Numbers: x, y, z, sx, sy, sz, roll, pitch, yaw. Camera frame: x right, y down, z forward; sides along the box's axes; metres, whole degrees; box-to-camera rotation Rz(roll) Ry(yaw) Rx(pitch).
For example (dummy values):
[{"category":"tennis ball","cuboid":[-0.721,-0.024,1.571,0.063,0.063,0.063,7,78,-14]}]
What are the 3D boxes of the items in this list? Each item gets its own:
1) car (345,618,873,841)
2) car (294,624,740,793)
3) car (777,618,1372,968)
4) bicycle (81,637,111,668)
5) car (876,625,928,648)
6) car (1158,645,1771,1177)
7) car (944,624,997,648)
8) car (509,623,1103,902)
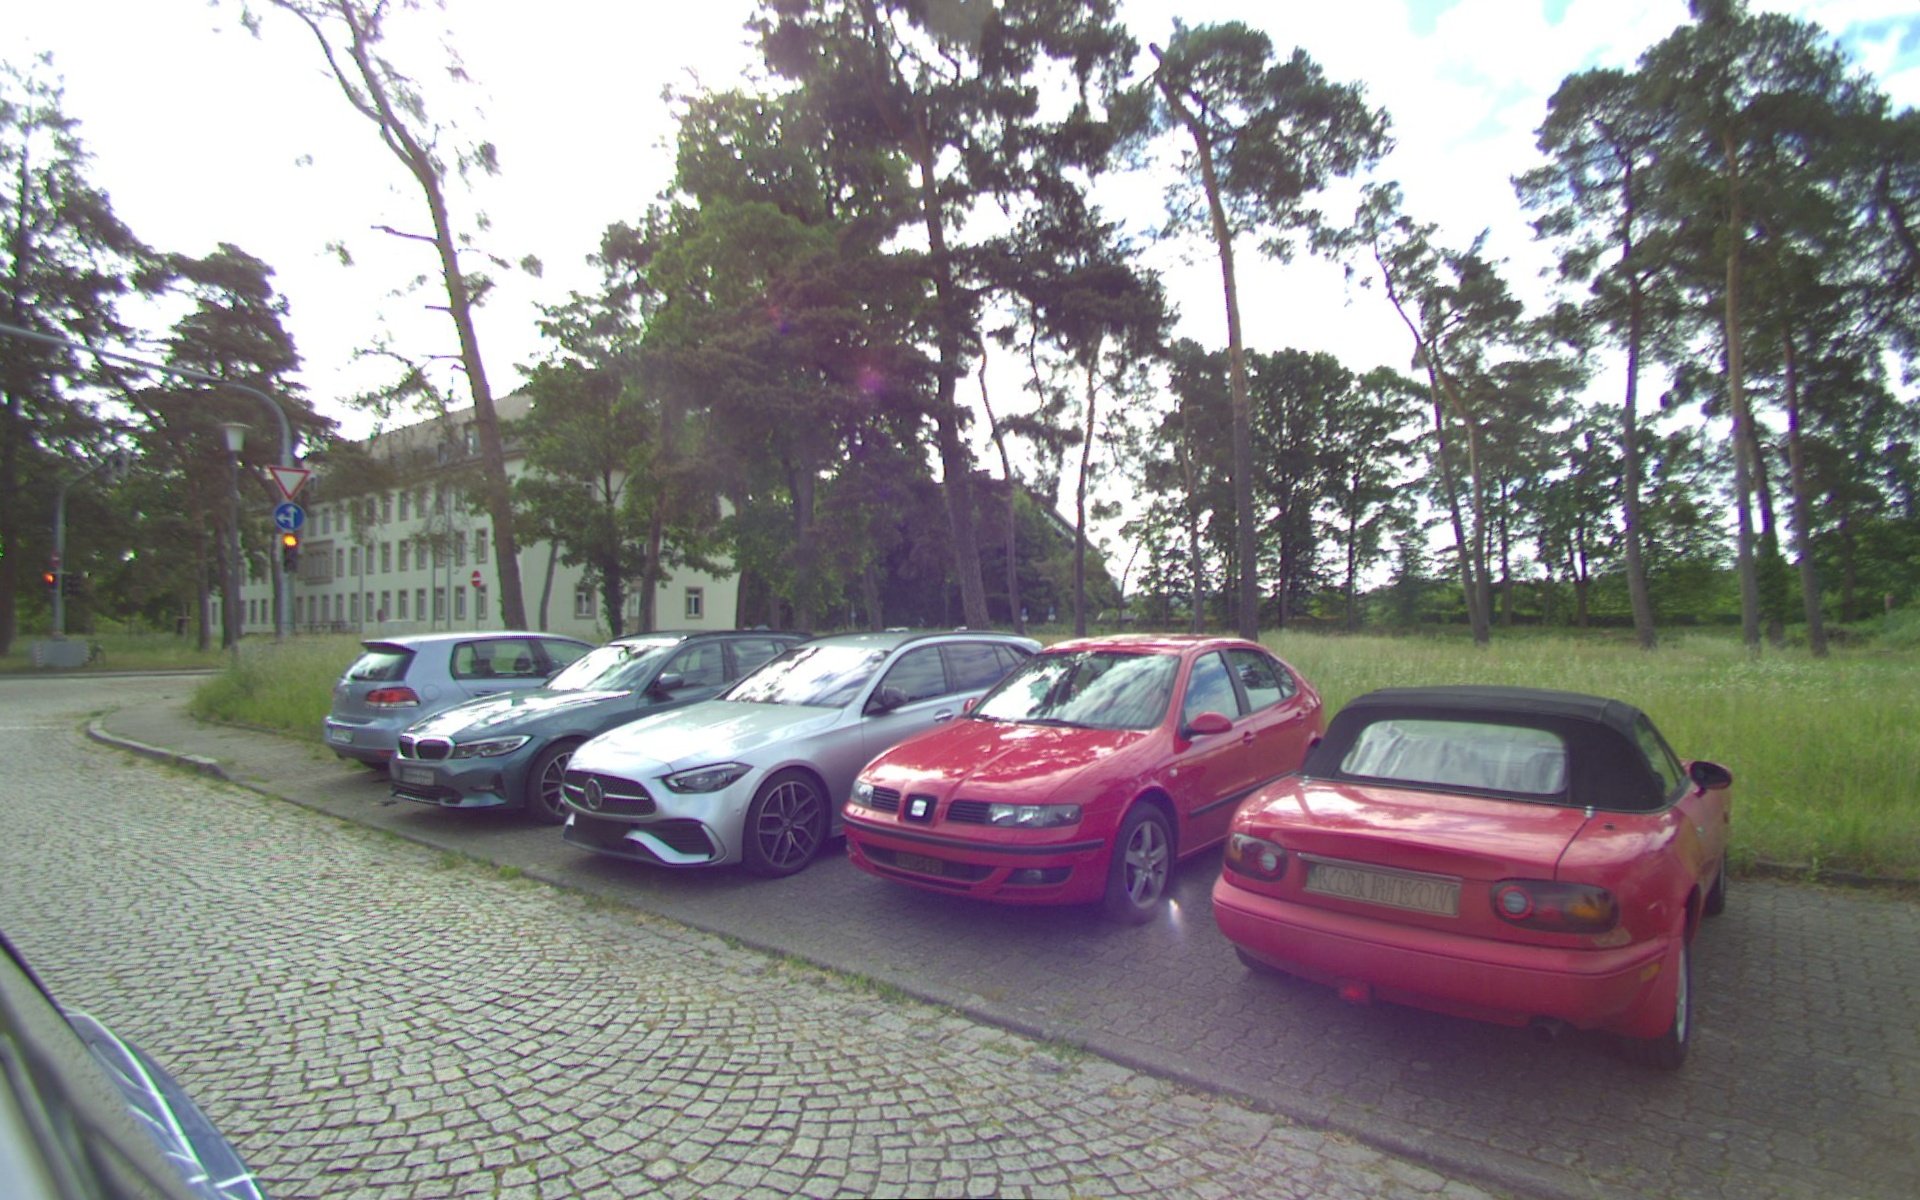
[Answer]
[{"category":"car","cuboid":[-2.973,0.958,9.526,1.867,1.548,4.461,-1,-1,36]},{"category":"car","cuboid":[-4.782,1.043,11.463,1.826,1.481,4.285,-1,-1,40]},{"category":"car","cuboid":[1.044,0.874,6.560,1.853,1.466,4.212,-2,-2,39]},{"category":"bicycle","cuboid":[-31.274,1.885,36.643,1.414,1.082,0.492,-1,1,37]},{"category":"car","cuboid":[-4.478,2.832,78.996,1.717,1.622,4.000,0,0,43]},{"category":"car","cuboid":[2.722,0.918,4.846,1.762,1.293,4.090,-2,-2,39]},{"category":"car","cuboid":[0.794,2.628,73.752,1.716,1.622,4.002,0,0,41]},{"category":"car","cuboid":[-0.882,0.940,7.845,1.948,1.466,4.392,-1,-1,40]}]
